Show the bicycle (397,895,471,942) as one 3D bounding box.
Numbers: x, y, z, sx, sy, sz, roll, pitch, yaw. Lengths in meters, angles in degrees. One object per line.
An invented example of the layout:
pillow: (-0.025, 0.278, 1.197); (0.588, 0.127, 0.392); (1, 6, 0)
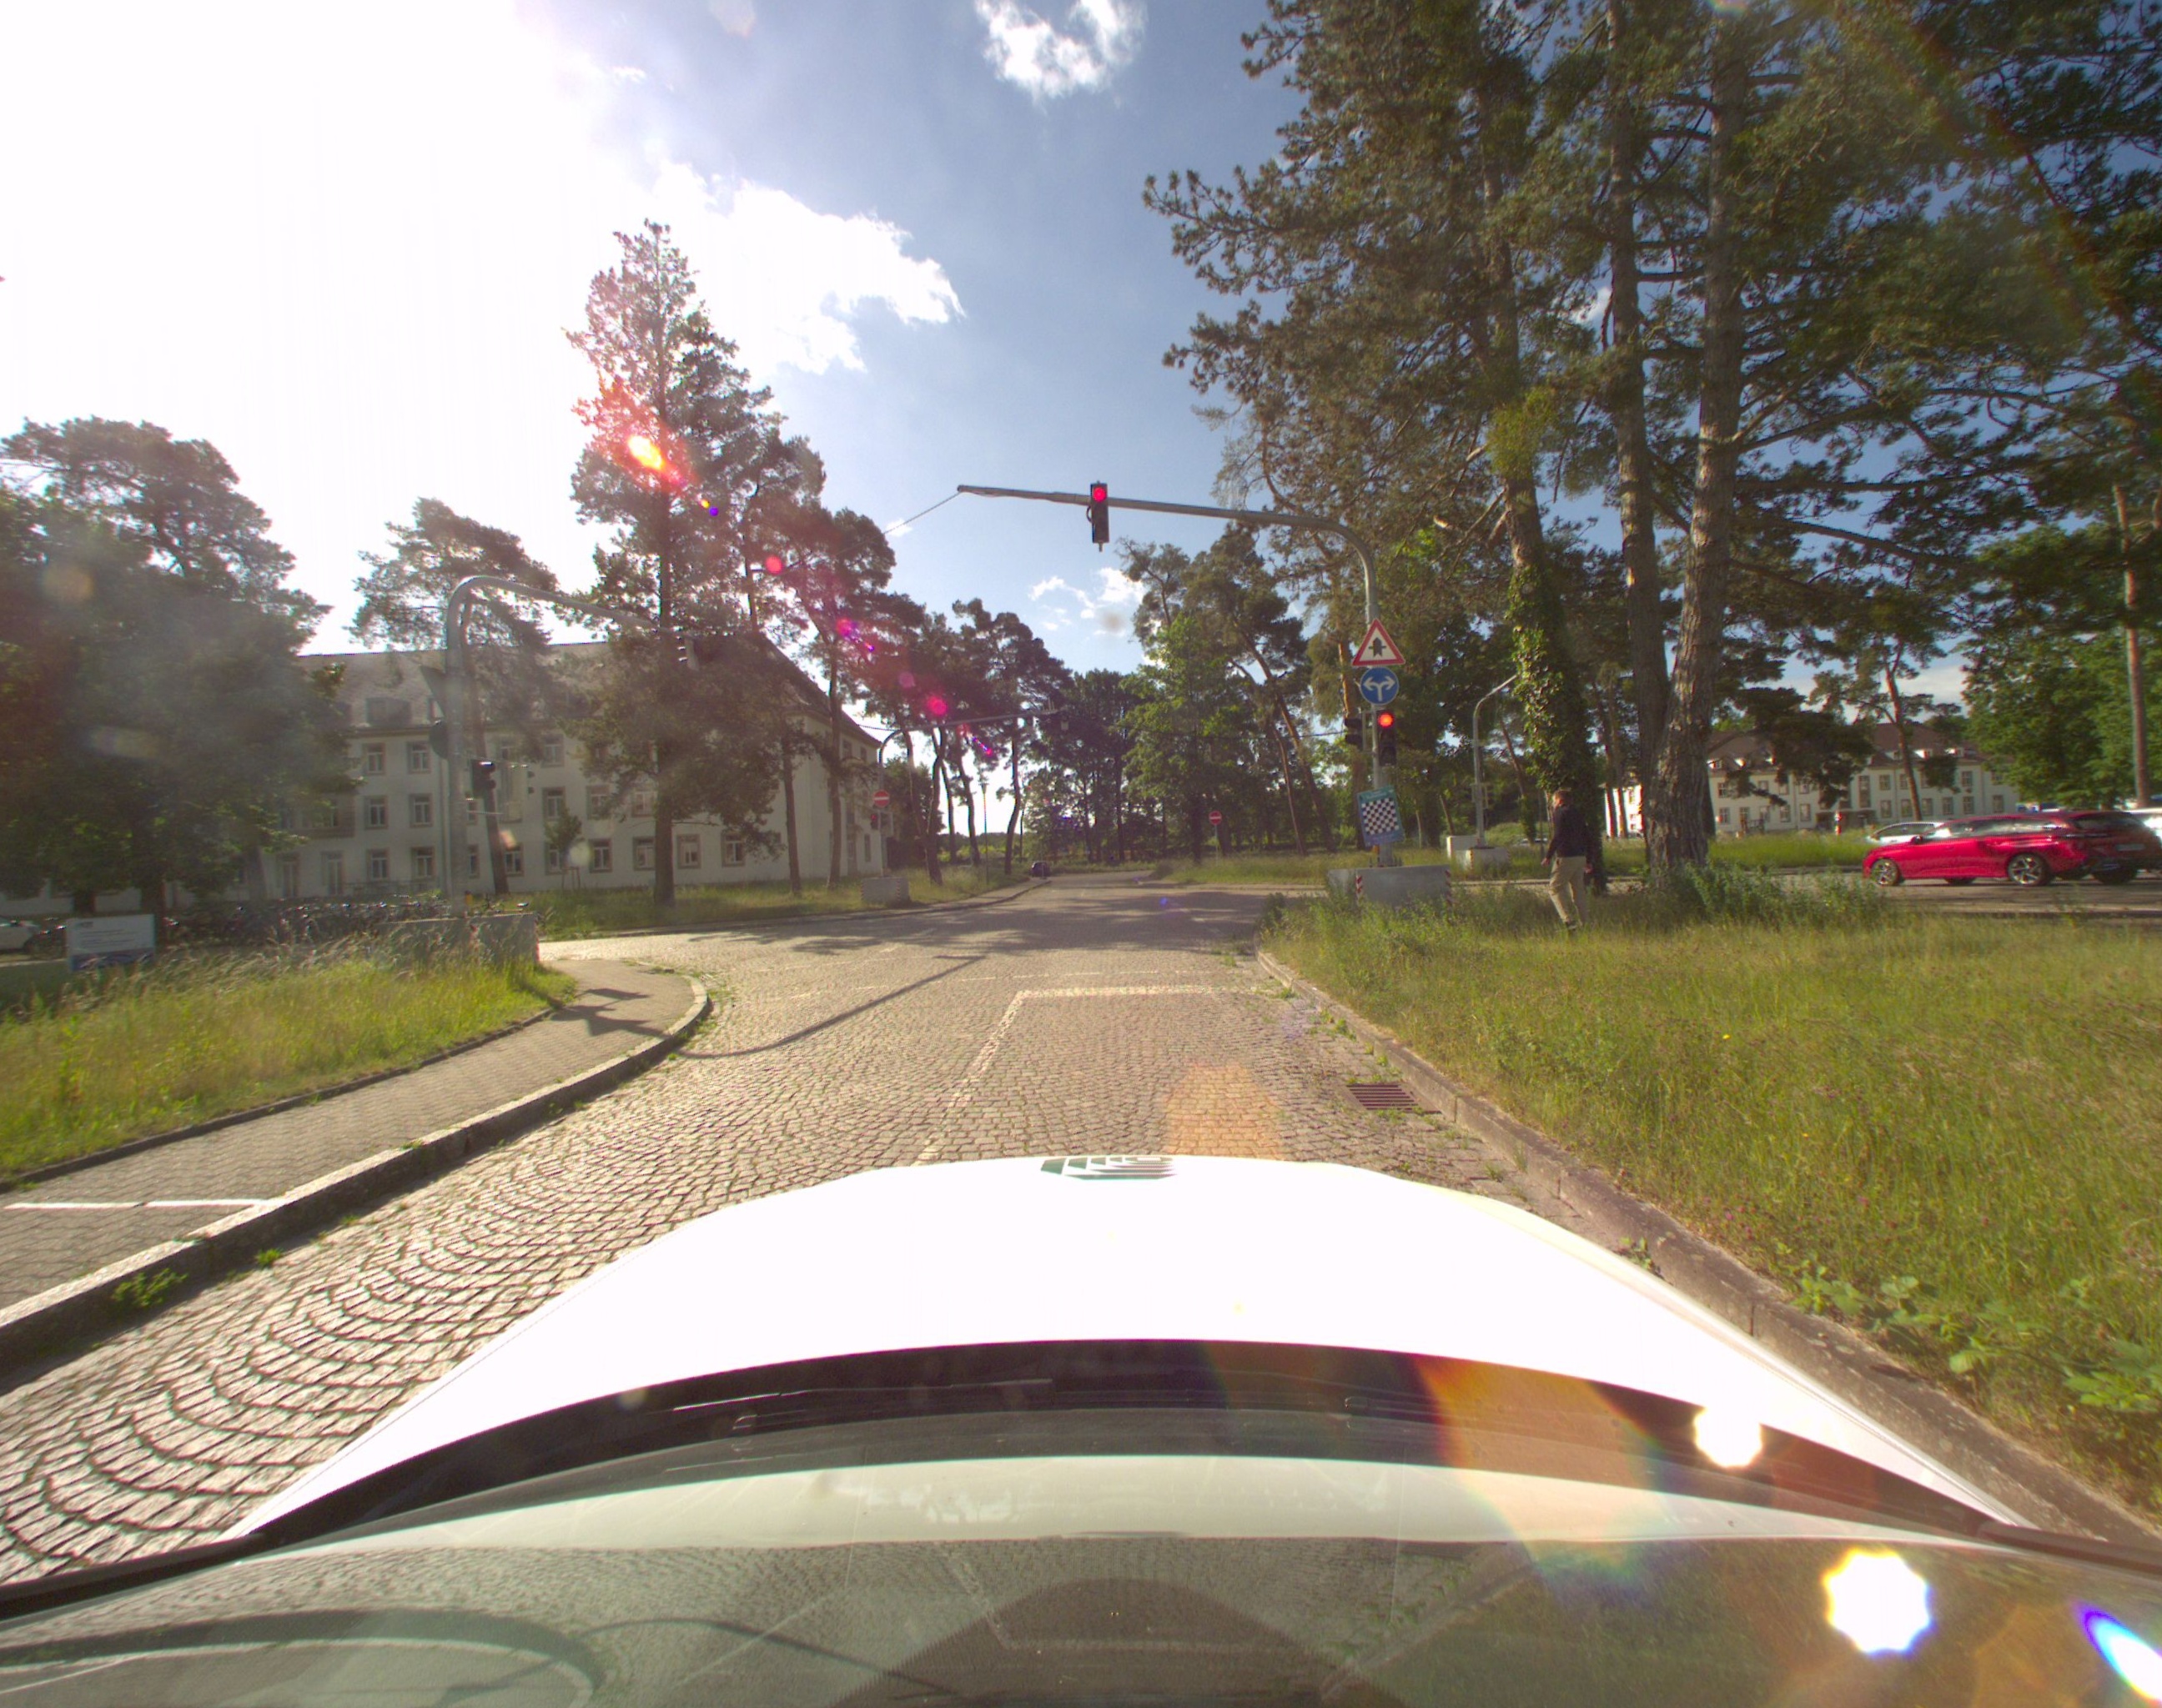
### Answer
bicycle: (-19.495, 1.925, 24.595); (0.570, 1.220, 1.990); (-3, 0, 1)

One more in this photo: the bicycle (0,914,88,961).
bicycle: (-31.065, 2.482, 24.406); (0.513, 1.220, 1.824); (-3, 0, -7)

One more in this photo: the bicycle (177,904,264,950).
bicycle: (-26.206, 2.204, 24.850); (0.512, 1.220, 1.937); (-3, 0, 1)

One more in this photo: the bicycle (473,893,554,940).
bicycle: (-16.318, 1.784, 23.441); (1.855, 1.220, 0.635); (-3, 0, 0)

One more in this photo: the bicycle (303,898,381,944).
bicycle: (-22.489, 2.008, 24.829); (0.512, 1.220, 1.977); (-3, 0, 1)

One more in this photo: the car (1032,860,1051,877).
car: (-3.919, 1.419, 80.671); (1.705, 1.496, 3.917); (-3, 0, -1)

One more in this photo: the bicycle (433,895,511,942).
bicycle: (-18.043, 1.882, 24.197); (0.631, 1.220, 2.124); (-3, 0, 1)

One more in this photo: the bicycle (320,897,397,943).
bicycle: (-21.971, 1.997, 24.833); (0.512, 1.220, 1.977); (-3, 0, 1)

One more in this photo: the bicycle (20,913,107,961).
bicycle: (-30.459, 2.465, 24.420); (0.514, 1.220, 1.823); (-3, 0, -9)

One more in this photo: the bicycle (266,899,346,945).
bicycle: (-23.569, 2.036, 24.810); (0.512, 1.220, 1.937); (-3, 0, 1)

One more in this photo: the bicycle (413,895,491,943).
bicycle: (-18.647, 1.899, 24.206); (0.631, 1.220, 2.104); (-3, 0, 1)

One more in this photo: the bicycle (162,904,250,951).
bicycle: (-26.654, 2.217, 24.858); (0.512, 1.220, 1.937); (-3, 0, 1)

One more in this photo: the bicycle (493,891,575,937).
bicycle: (-16.202, 1.762, 24.154); (1.938, 1.220, 0.635); (-3, 0, 0)

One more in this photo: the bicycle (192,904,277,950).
bicycle: (-25.777, 2.191, 24.849); (0.512, 1.220, 1.937); (-3, 0, 1)

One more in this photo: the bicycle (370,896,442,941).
bicycle: (-20.805, 1.964, 25.151); (0.546, 1.220, 1.900); (-3, 0, 1)

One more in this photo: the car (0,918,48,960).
car: (-34.085, 2.701, 24.424); (1.504, 1.211, 3.596); (-3, 0, 3)

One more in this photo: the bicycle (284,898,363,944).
bicycle: (-23.015, 2.020, 24.797); (0.512, 1.220, 1.954); (-3, 0, 1)

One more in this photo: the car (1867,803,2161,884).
car: (18.784, -0.153, 16.557); (1.649, 1.399, 4.130); (-2, -1, 1)

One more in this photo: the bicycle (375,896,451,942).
bicycle: (-20.240, 1.949, 24.727); (0.576, 1.220, 2.029); (-3, 0, 1)

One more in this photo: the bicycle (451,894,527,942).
bicycle: (-17.560, 1.867, 24.204); (0.631, 1.220, 2.114); (-3, 0, 1)

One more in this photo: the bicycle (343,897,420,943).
bicycle: (-21.323, 1.979, 24.878); (0.512, 1.220, 2.016); (-3, 0, 1)

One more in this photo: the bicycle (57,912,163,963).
bicycle: (-27.622, 2.355, 23.199); (1.837, 1.220, 0.510); (-3, 0, -35)

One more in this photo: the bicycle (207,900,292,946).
bicycle: (-25.317, 2.087, 24.845); (0.512, 1.220, 1.937); (-3, 0, 1)

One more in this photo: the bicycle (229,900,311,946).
bicycle: (-24.707, 2.069, 24.854); (0.512, 1.220, 1.937); (-3, 0, 1)

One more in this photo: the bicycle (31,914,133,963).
bicycle: (-29.122, 2.433, 23.769); (0.509, 1.220, 1.841); (-3, 0, 38)

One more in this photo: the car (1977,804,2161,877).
car: (21.659, -0.283, 16.725); (1.773, 1.379, 4.239); (-3, -2, 0)

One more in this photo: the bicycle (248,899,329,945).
bicycle: (-24.115, 2.052, 24.834); (0.512, 1.220, 1.937); (-3, 0, 1)

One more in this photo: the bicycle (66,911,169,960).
bicycle: (-28.012, 2.361, 23.709); (1.837, 1.220, 0.510); (-3, 0, -35)

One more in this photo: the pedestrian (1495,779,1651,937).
pedestrian: (6.030, 0.041, 10.049); (1.169, 1.796, 1.059); (-3, 0, -11)
